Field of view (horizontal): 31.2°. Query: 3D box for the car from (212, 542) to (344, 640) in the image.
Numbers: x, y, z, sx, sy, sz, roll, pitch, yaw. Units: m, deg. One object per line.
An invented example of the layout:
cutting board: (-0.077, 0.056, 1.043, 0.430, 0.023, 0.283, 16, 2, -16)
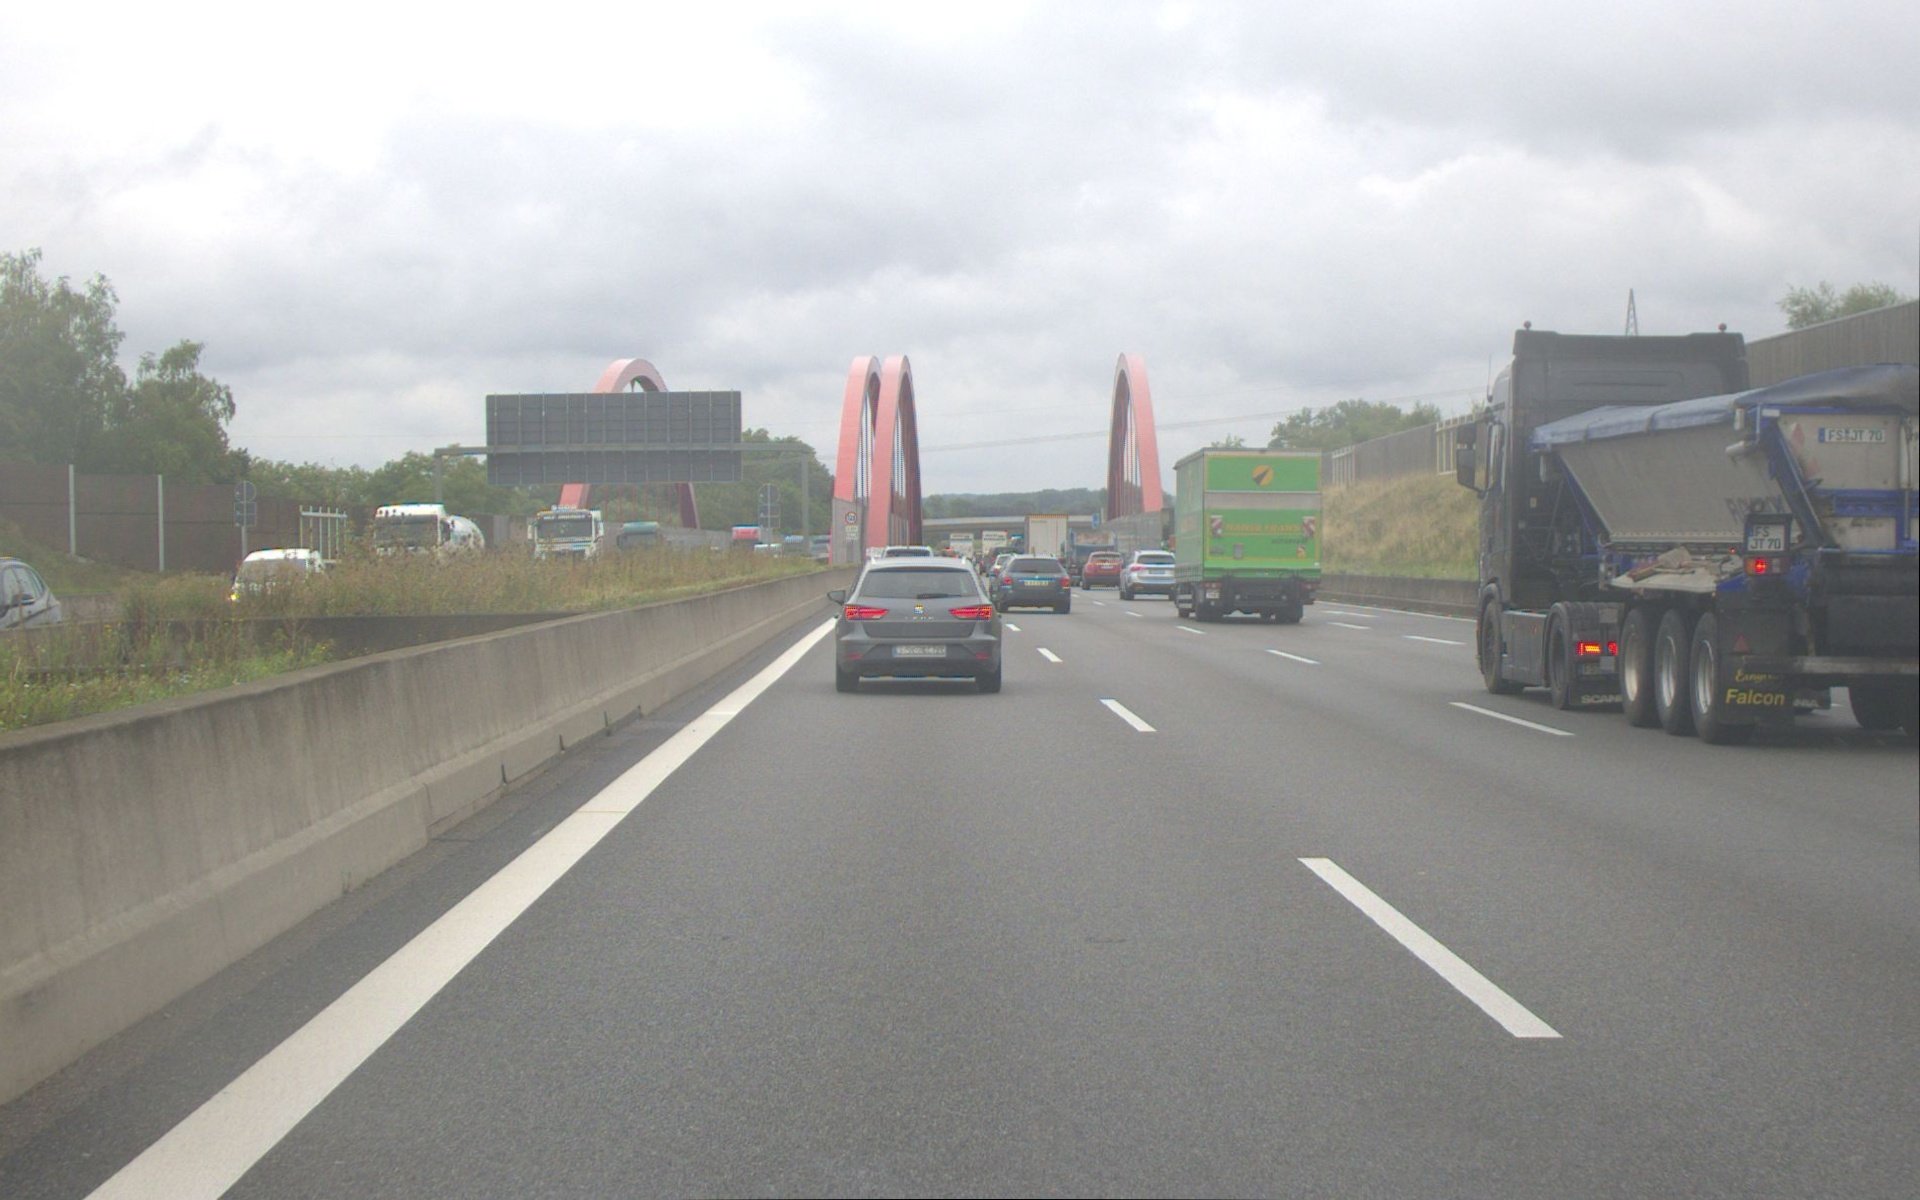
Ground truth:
car: (-14.514, -0.220, 73.362, 1.993, 2.007, 4.198, 1, 1, -1)

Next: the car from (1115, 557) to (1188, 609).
car: (6.244, -0.592, 112.713, 1.993, 1.613, 5.328, 1, 1, -1)

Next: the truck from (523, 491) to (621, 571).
truck: (-15.636, -2.772, 139.090, 2.956, 3.056, 8.728, 1, 1, 0)

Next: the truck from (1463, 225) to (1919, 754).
truck: (7.047, -0.918, 32.056, 2.812, 3.936, 12.714, -1, 1, 0)

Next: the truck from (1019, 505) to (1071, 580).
truck: (5.444, -3.688, 221.430, 3.044, 4.718, 7.680, 1, 1, 0)

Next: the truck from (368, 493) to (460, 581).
truck: (-19.538, -2.250, 123.234, 2.621, 3.009, 5.614, 1, 1, -3)

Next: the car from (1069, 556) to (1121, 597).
car: (5.634, -1.013, 143.633, 1.957, 1.641, 4.000, 1, 1, -1)

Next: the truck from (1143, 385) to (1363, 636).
truck: (6.516, -1.979, 78.655, 3.997, 5.248, 11.220, 1, 1, 0)

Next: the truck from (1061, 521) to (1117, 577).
truck: (5.979, -2.373, 159.430, 2.361, 2.498, 6.144, 1, 1, 0)

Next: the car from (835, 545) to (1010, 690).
car: (-0.365, 0.143, 36.830, 1.764, 1.448, 4.000, 1, 1, 0)

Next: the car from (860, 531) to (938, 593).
car: (-1.600, -1.007, 90.302, 1.993, 1.579, 4.000, -1, 1, -1)

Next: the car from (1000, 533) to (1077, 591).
car: (1.918, -0.954, 84.975, 1.782, 1.401, 3.626, 1, 1, 0)

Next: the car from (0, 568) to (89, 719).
car: (-10.843, 0.439, 36.381, 1.993, 1.514, 4.819, 0, 1, 1)
